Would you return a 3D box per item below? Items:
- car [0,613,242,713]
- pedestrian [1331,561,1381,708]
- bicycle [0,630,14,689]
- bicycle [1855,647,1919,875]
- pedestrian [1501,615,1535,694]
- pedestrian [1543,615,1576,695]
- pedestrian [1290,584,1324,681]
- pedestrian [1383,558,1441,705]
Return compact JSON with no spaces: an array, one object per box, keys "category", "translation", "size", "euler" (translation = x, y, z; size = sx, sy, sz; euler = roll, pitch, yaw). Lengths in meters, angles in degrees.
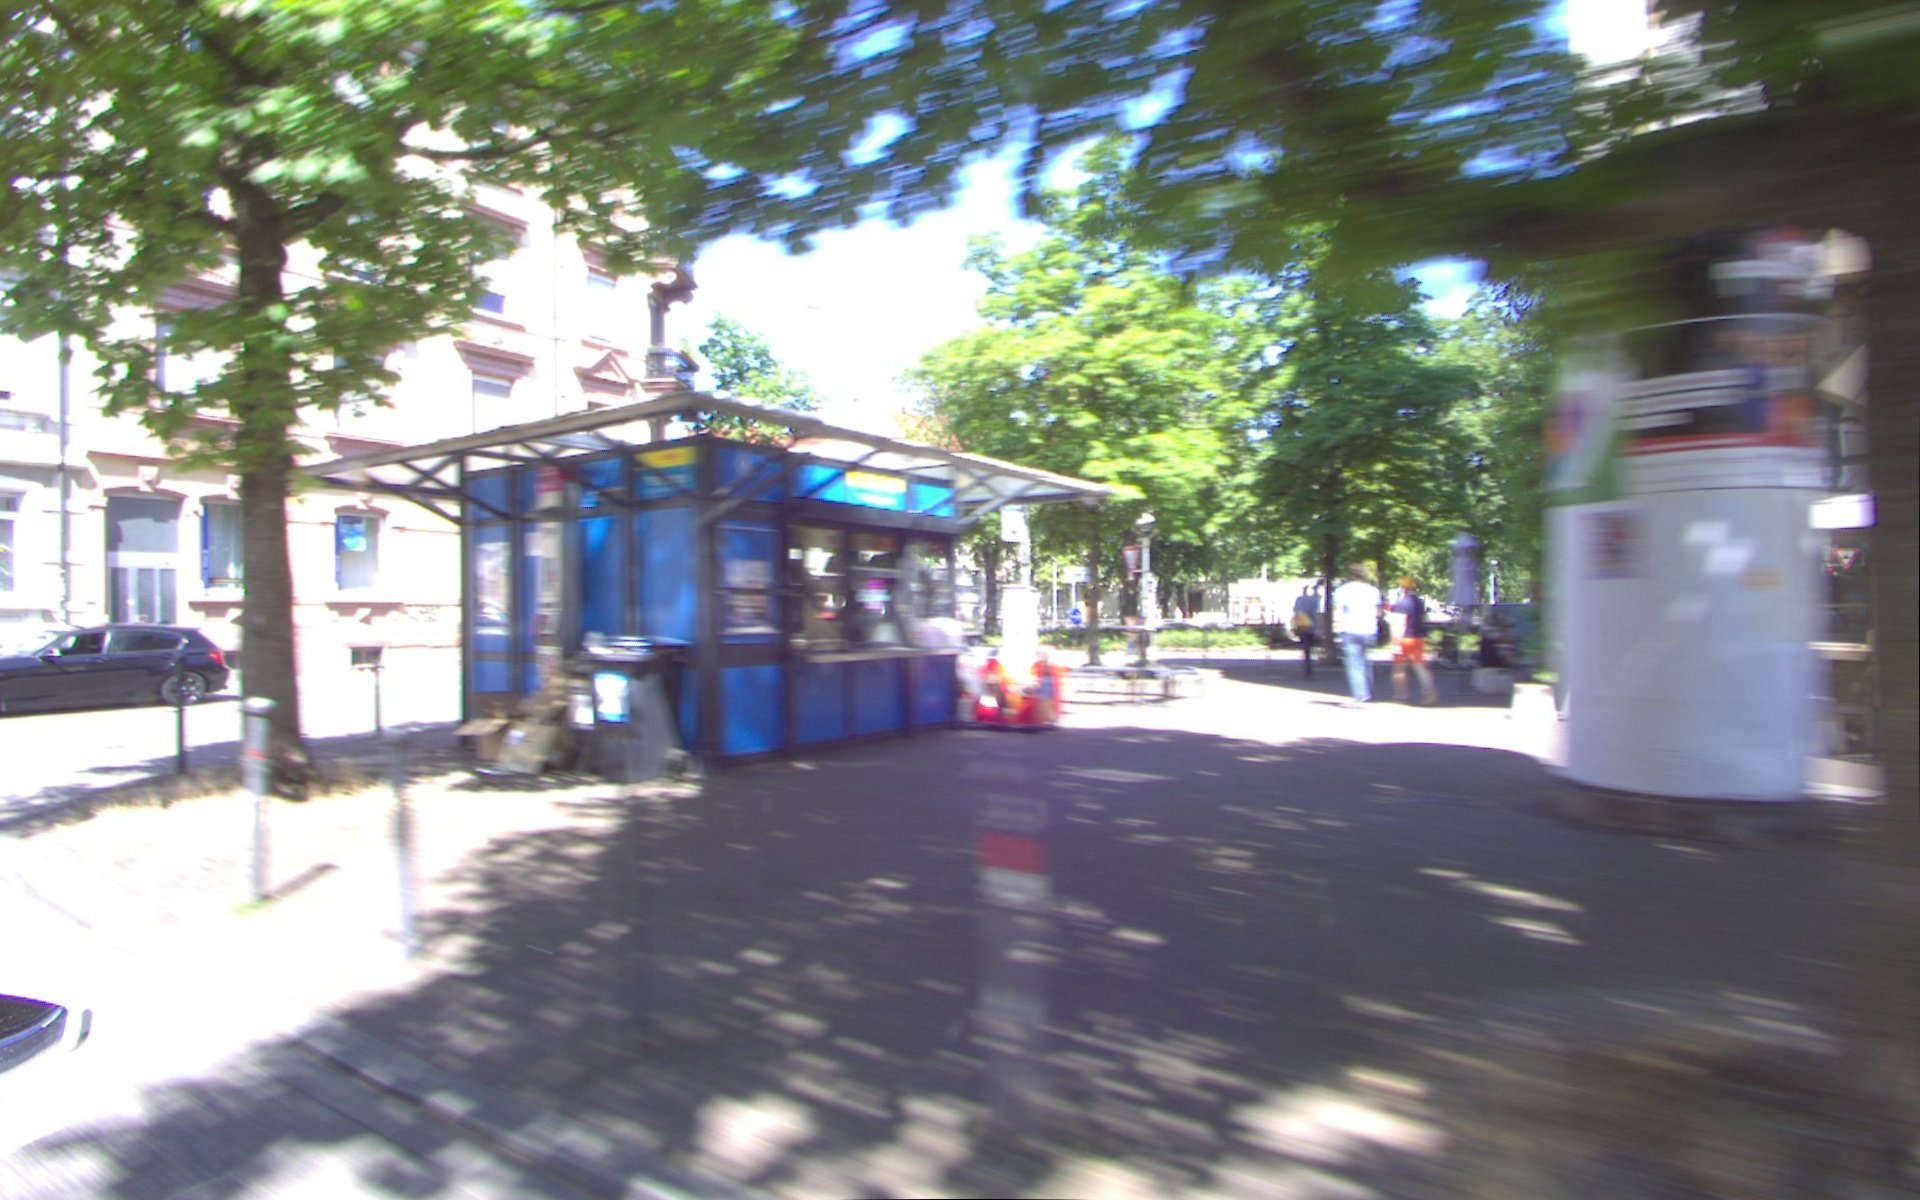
[{"category":"car","translation":[-14.500,0.965,16.264],"size":[1.781,1.389,4.283],"euler":[2,2,33]},{"category":"pedestrian","translation":[5.232,0.449,13.254],"size":[0.510,1.893,0.653],"euler":[-1,0,14]},{"category":"bicycle","translation":[-17.904,1.078,17.475],"size":[0.417,1.035,2.001],"euler":[3,2,31]},{"category":"bicycle","translation":[5.515,0.834,5.513],"size":[0.625,1.053,1.895],"euler":[-1,0,34]},{"category":"pedestrian","translation":[8.727,0.842,15.664],"size":[0.408,1.198,0.442],"euler":[0,1,35]},{"category":"pedestrian","translation":[9.186,0.833,15.340],"size":[0.408,1.198,0.442],"euler":[0,1,35]},{"category":"pedestrian","translation":[6.715,0.622,19.408],"size":[0.594,1.836,0.587],"euler":[-1,0,18]},{"category":"pedestrian","translation":[6.084,0.418,13.516],"size":[0.590,1.904,0.881],"euler":[-1,0,18]}]
